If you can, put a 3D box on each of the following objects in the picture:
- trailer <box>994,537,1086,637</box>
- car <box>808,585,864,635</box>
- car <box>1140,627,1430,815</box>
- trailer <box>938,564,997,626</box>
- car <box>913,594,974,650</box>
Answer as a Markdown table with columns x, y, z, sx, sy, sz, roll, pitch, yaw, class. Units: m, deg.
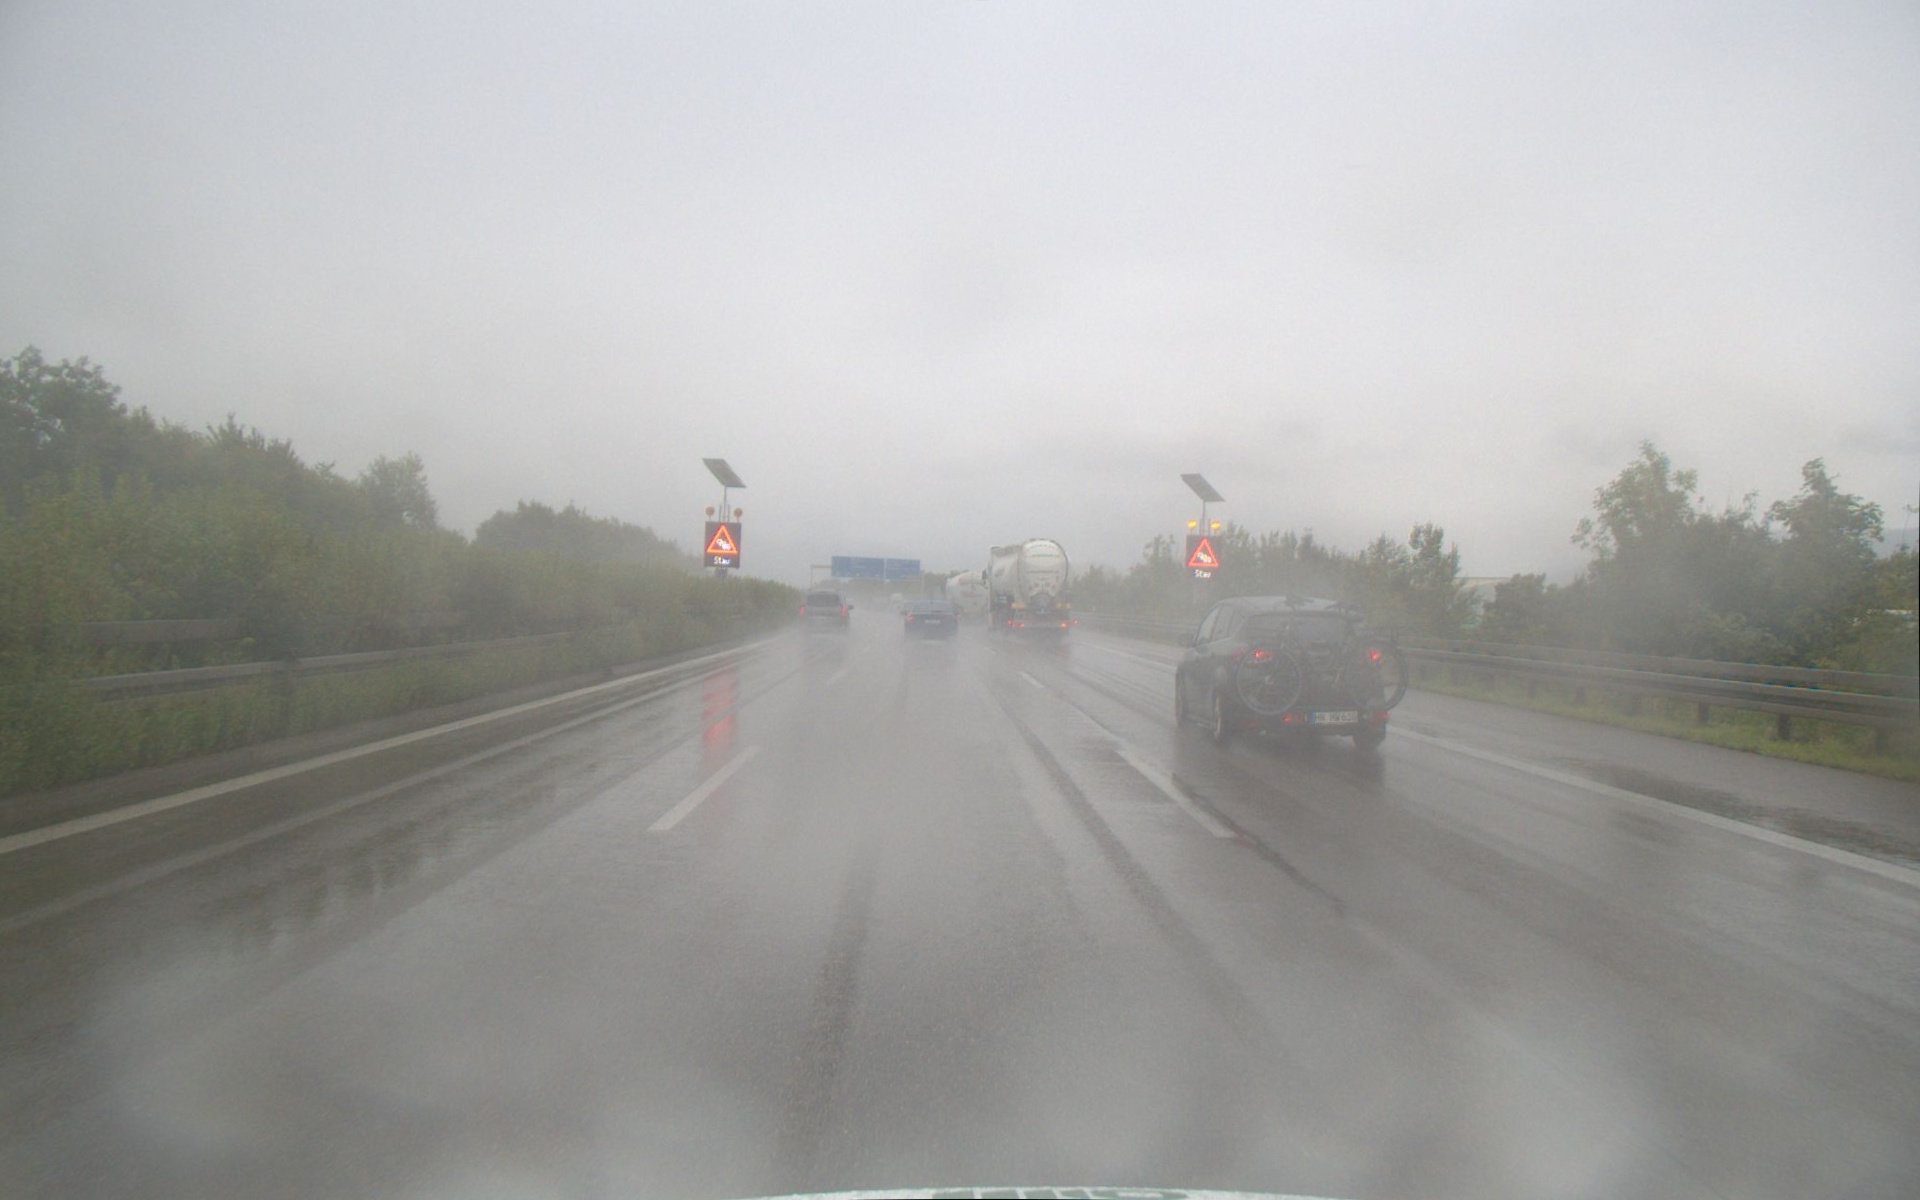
| x | y | z | sx | sy | sz | roll | pitch | yaw | class |
| --- | --- | --- | --- | --- | --- | --- | --- | --- | --- |
| 3.117 | -0.516 | 67.955 | 3.123 | 3.734 | 11.665 | 1 | 0 | 0 | trailer |
| -4.622 | 0.356 | 61.959 | 1.886 | 1.771 | 4.402 | 1 | 0 | -2 | car |
| 3.593 | 1.273 | 19.582 | 2.407 | 1.776 | 5.720 | 1 | 0 | 1 | car |
| 0.451 | -0.378 | 110.949 | 2.947 | 3.915 | 8.612 | 1 | 0 | -6 | trailer |
| -0.560 | 0.704 | 55.344 | 1.938 | 1.787 | 4.480 | 1 | 0 | -1 | car |
